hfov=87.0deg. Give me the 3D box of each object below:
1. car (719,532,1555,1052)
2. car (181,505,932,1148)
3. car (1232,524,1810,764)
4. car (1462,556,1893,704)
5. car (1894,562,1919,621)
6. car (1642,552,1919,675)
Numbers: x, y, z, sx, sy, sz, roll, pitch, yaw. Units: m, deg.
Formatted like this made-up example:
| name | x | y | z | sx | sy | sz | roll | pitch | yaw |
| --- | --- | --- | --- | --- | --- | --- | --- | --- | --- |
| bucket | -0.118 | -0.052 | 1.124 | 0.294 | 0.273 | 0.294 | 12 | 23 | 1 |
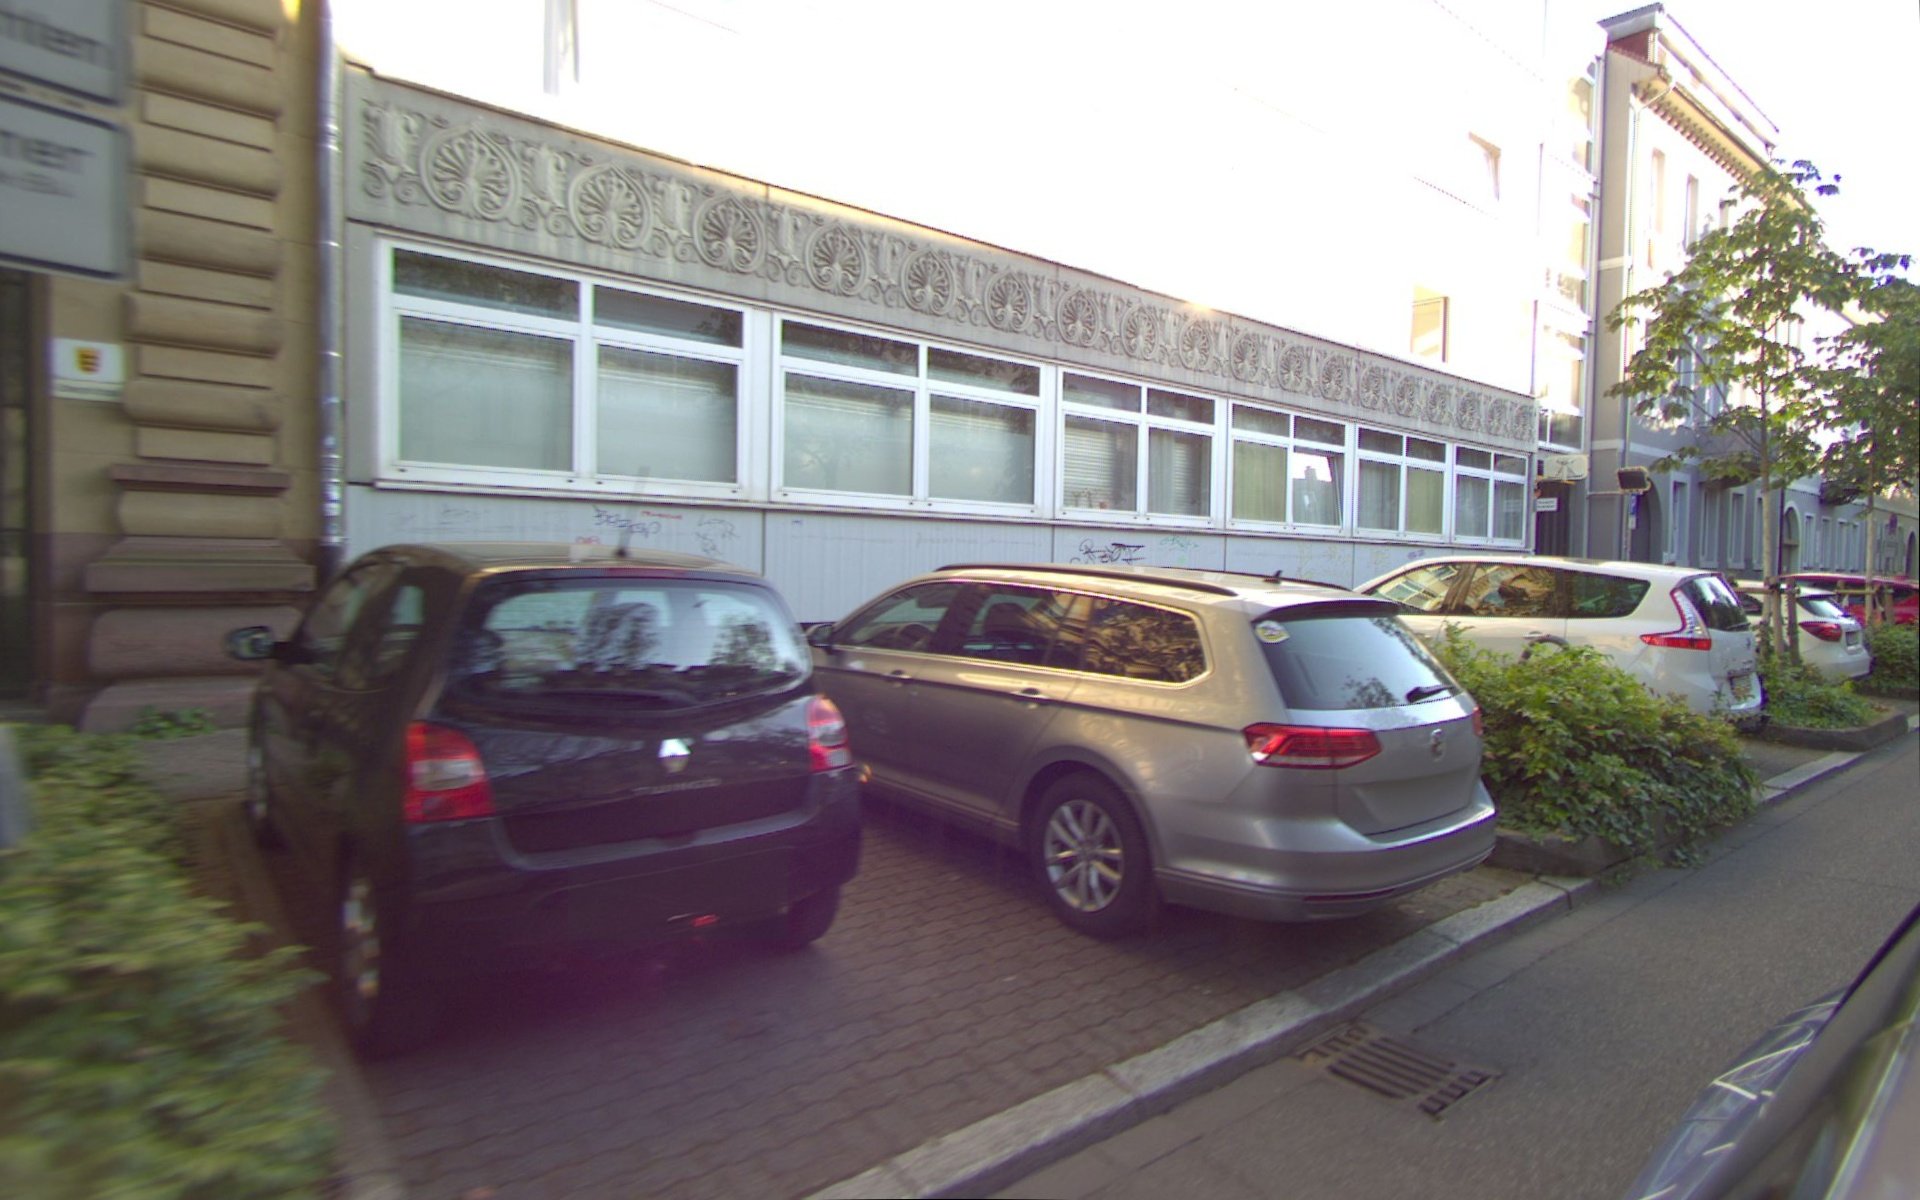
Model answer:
| name | x | y | z | sx | sy | sz | roll | pitch | yaw |
| --- | --- | --- | --- | --- | --- | --- | --- | --- | --- |
| car | 0.426 | 0.487 | 5.393 | 1.642 | 1.513 | 4.371 | 0 | 5 | -38 |
| car | -2.235 | 0.381 | 4.620 | 1.802 | 1.481 | 4.366 | -1 | 5 | -42 |
| car | 5.095 | 0.195 | 9.735 | 2.018 | 1.662 | 4.369 | 0 | 5 | -40 |
| car | 9.424 | 0.256 | 13.629 | 1.854 | 1.511 | 4.368 | 0 | 4 | -40 |
| car | 31.163 | -0.143 | 30.346 | 1.703 | 1.799 | 4.368 | 0 | 4 | -40 |
| car | 13.718 | 0.165 | 16.116 | 1.703 | 1.643 | 4.368 | 0 | 4 | -40 |
